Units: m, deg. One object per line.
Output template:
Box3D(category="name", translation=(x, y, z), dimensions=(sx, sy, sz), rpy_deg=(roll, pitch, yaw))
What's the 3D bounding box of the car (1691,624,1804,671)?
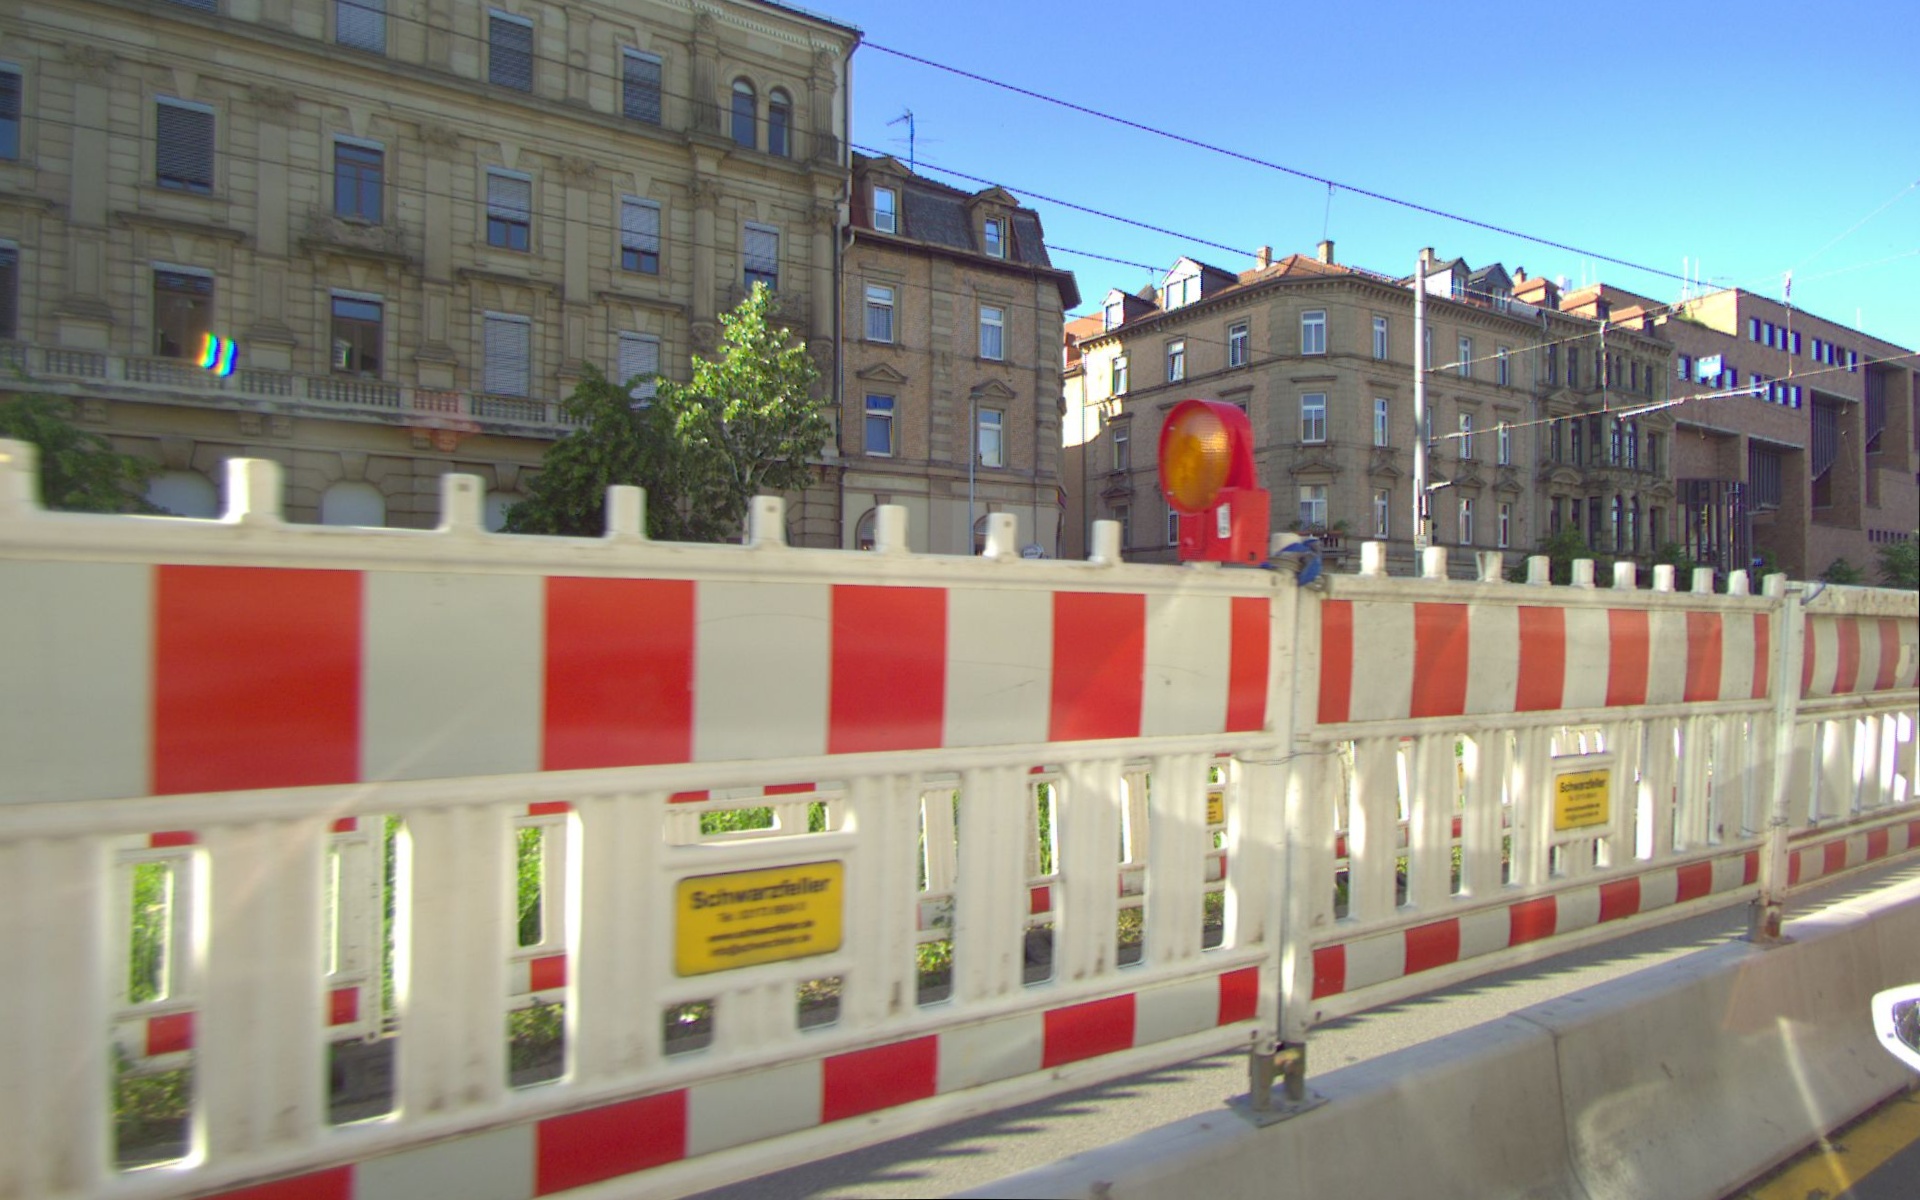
Box3D(category="car", translation=(29.492, 1.754, 37.580), dimensions=(4.423, 1.661, 1.788), rpy_deg=(2, -2, -29))
